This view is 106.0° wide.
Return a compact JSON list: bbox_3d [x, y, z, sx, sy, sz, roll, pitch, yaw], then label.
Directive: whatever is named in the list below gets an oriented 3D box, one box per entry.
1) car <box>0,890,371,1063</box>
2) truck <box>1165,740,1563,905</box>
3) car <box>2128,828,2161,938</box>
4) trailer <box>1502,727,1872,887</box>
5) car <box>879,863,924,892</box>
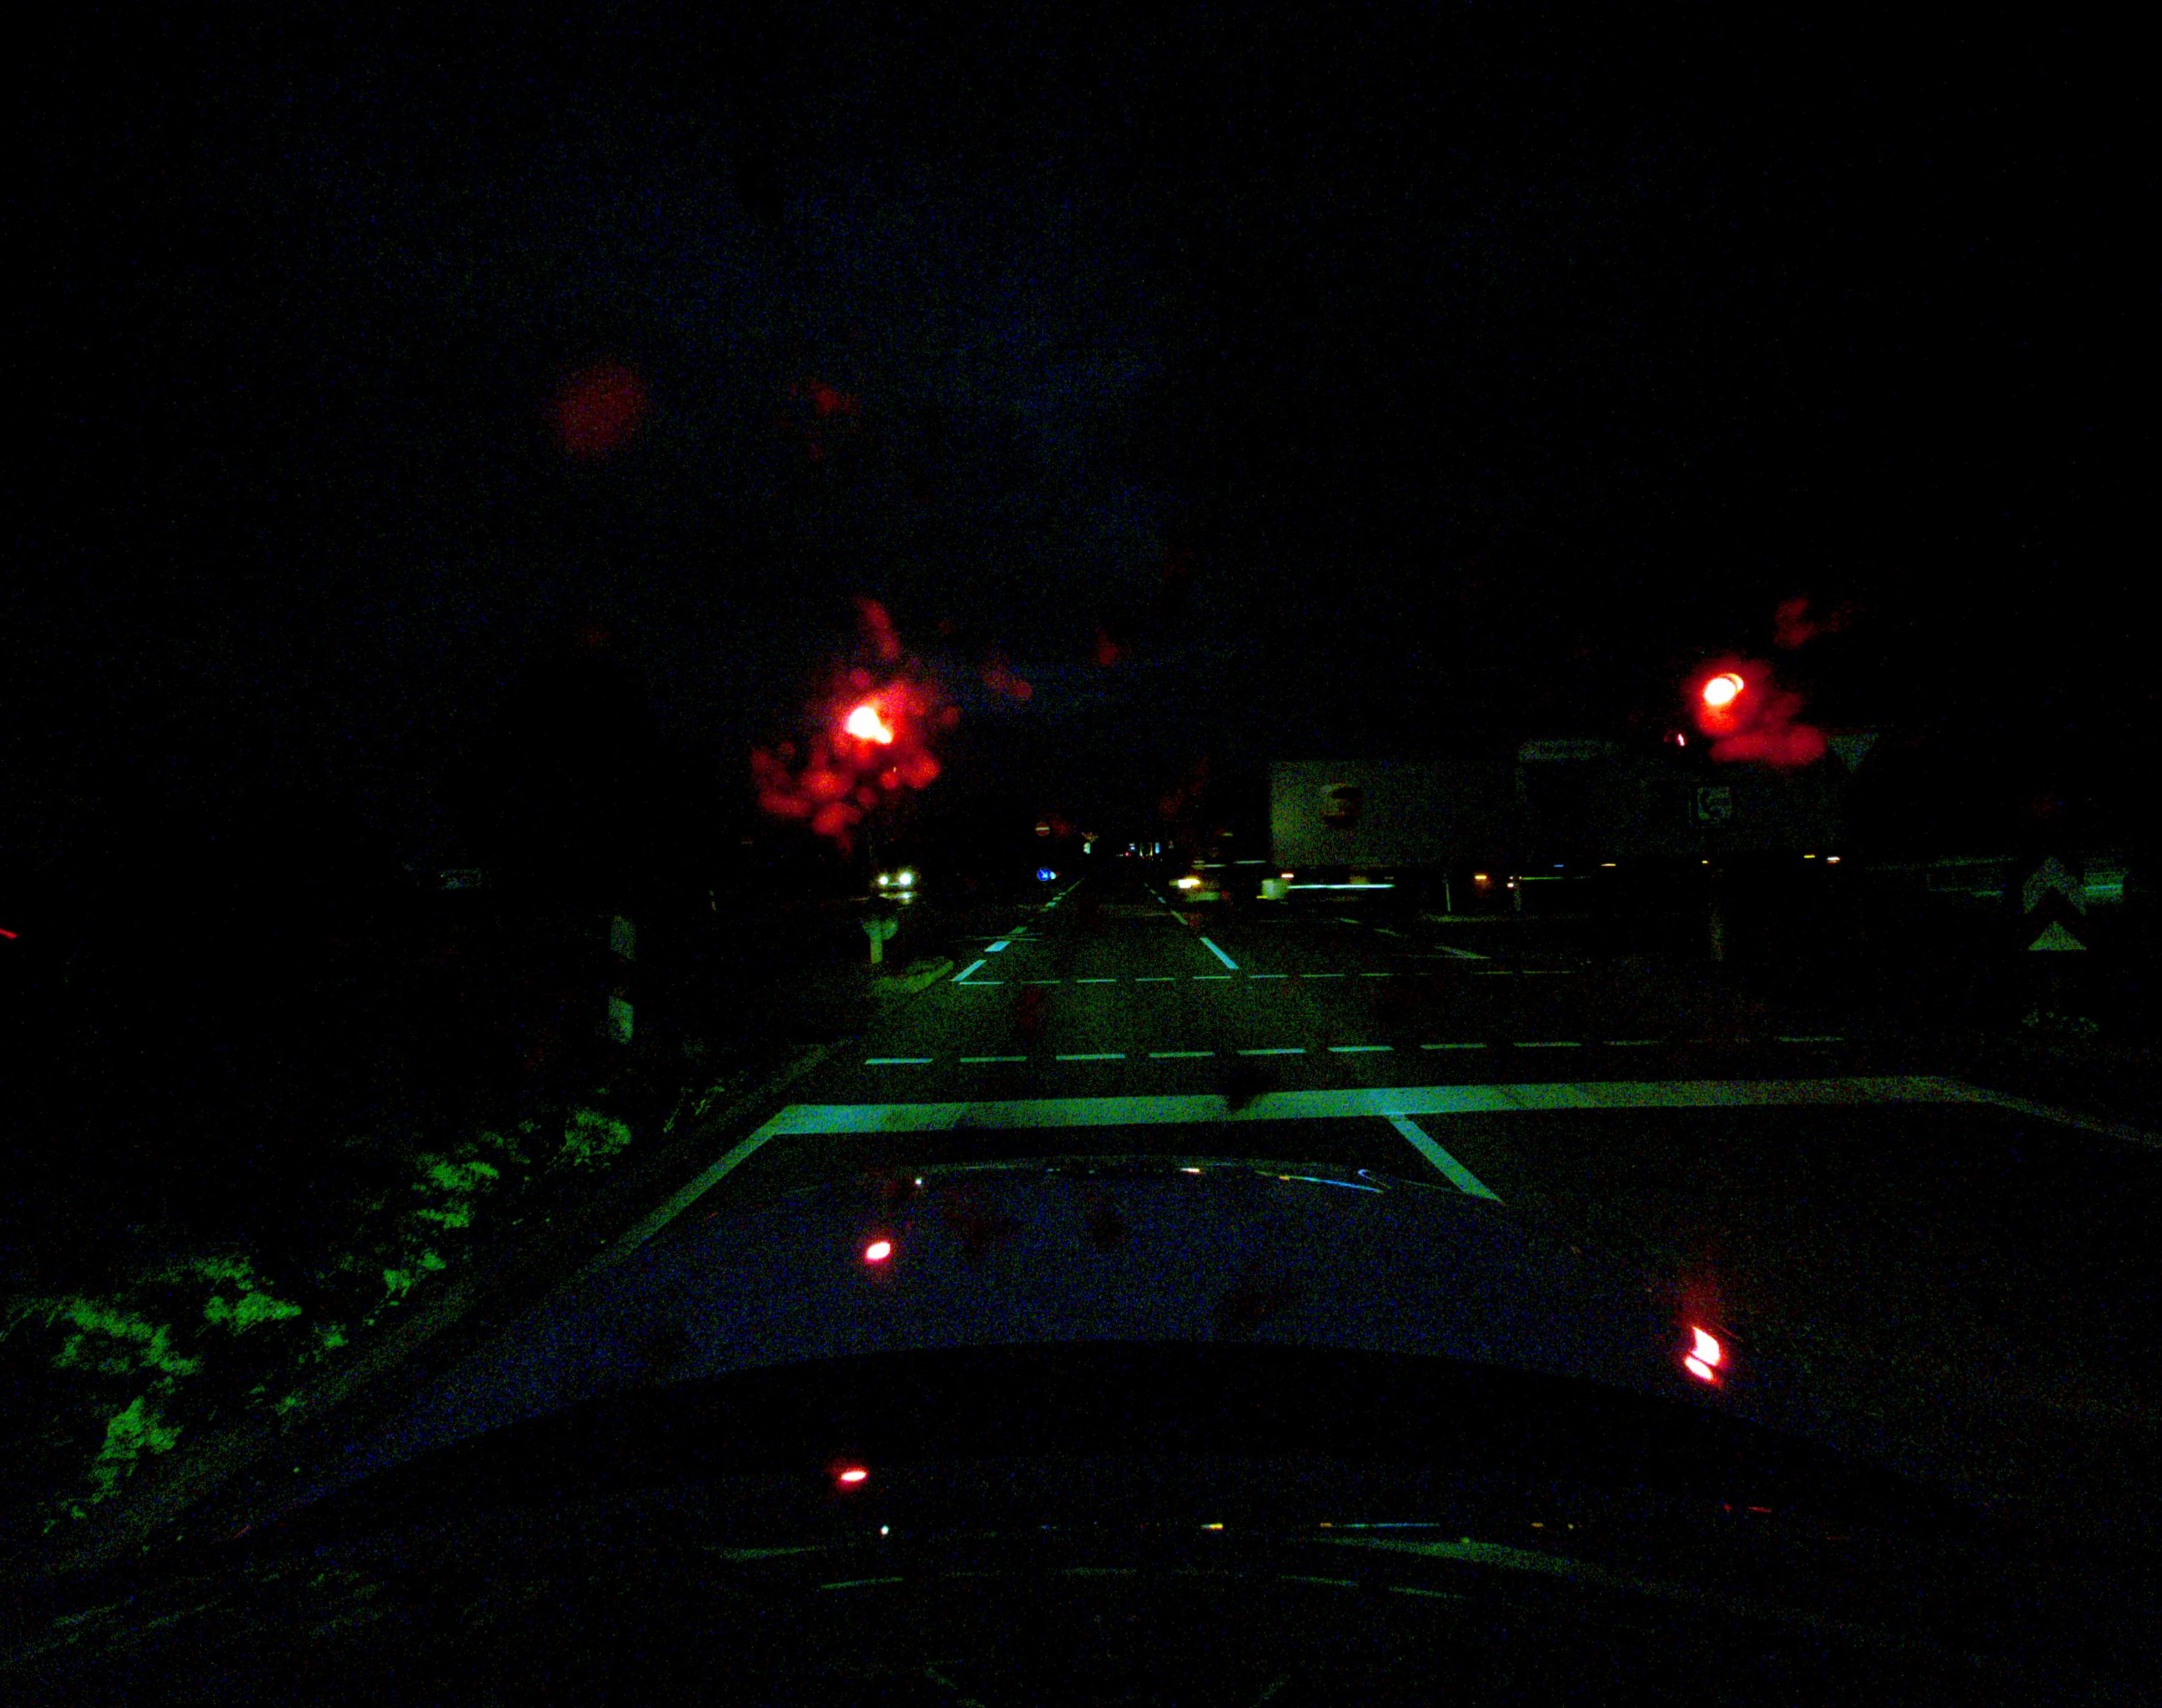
[{"bbox_3d":[-11.161,1.325,9.155,1.616,1.505,4.610,-3,0,15],"label":"car"},{"bbox_3d":[7.730,-0.853,23.007,10.289,4.117,2.731,-2,-1,-3],"label":"truck"},{"bbox_3d":[16.523,0.345,11.544,4.022,1.442,1.787,-2,1,-42],"label":"car"},{"bbox_3d":[17.186,-1.302,23.421,8.828,3.943,2.582,-3,0,-3],"label":"trailer"},{"bbox_3d":[-10.695,1.380,48.673,1.622,1.376,3.591,-6,0,2],"label":"car"}]
